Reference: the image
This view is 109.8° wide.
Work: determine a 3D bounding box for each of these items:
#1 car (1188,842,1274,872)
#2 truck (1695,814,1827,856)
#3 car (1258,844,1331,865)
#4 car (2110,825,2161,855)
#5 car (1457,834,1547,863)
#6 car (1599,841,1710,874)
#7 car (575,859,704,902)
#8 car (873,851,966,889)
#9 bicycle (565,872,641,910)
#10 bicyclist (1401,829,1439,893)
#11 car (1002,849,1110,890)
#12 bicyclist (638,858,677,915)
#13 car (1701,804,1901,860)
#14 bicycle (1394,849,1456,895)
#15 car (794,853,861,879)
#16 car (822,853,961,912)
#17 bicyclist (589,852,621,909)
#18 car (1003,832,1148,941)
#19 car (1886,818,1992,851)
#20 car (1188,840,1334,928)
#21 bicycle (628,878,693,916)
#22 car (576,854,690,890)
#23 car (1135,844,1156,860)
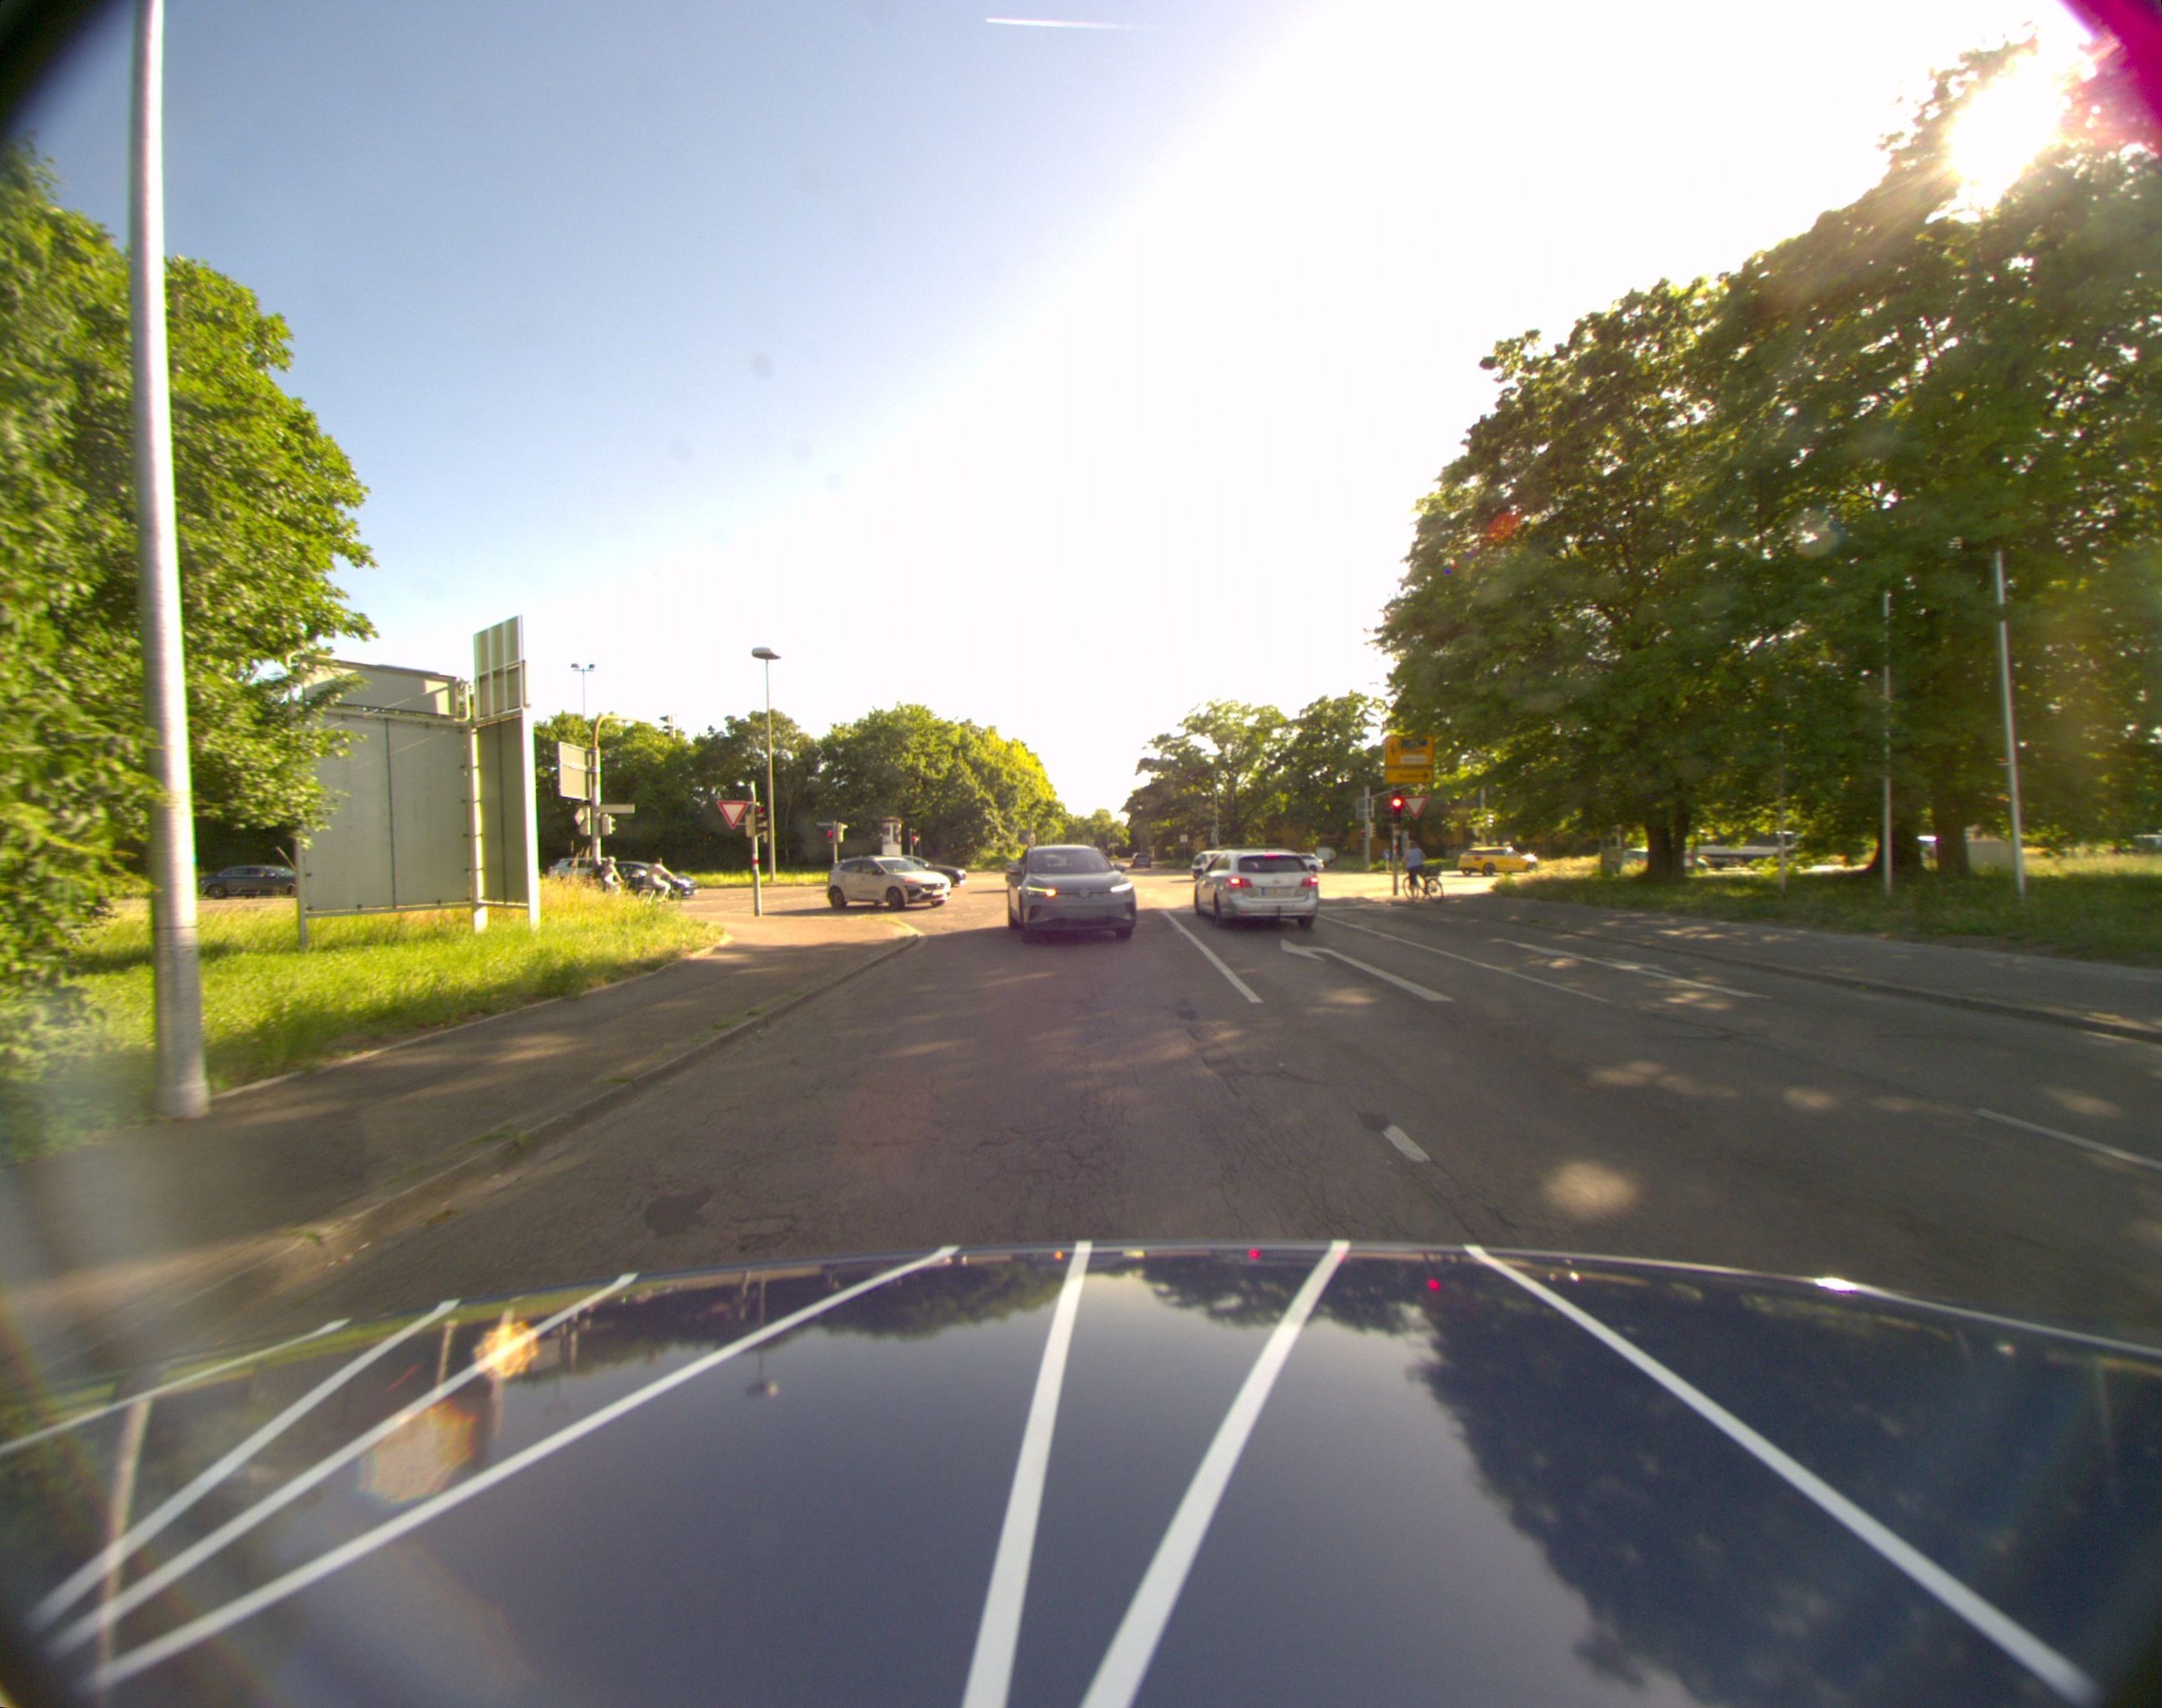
[{"bbox_3d":[7.575,0.134,38.497,3.913,1.432,1.691,-1,1,-12],"label":"car"},{"bbox_3d":[39.674,-1.097,44.372,6.776,2.296,2.189,-1,1,-12],"label":"truck"},{"bbox_3d":[14.527,0.022,51.642,4.502,1.221,1.691,-2,1,-13],"label":"car"},{"bbox_3d":[64.311,-0.860,45.258,4.392,1.674,1.825,-1,2,-11],"label":"car"},{"bbox_3d":[22.540,-0.300,40.712,4.122,1.432,1.691,-1,2,-12],"label":"car"},{"bbox_3d":[29.292,0.162,38.881,4.364,1.478,1.918,-1,3,-6],"label":"car"},{"bbox_3d":[-16.842,0.976,29.165,3.913,1.432,1.690,-1,3,-12],"label":"car"},{"bbox_3d":[-7.378,0.721,35.027,4.000,1.533,1.622,-1,3,-8],"label":"car"},{"bbox_3d":[-14.296,1.097,22.787,0.529,1.070,1.874,1,-1,29],"label":"bicycle"},{"bbox_3d":[8.897,0.178,19.949,0.542,1.632,0.829,-2,1,-5],"label":"bicyclist"},{"bbox_3d":[-1.093,0.618,32.169,4.365,1.478,1.918,-1,3,-10],"label":"car"},{"bbox_3d":[-12.427,0.966,22.328,0.542,1.625,0.809,1,-2,11],"label":"bicyclist"},{"bbox_3d":[21.076,-0.690,22.474,1.533,1.504,3.991,-2,3,-21],"label":"car"},{"bbox_3d":[8.937,0.432,19.827,0.529,1.135,2.025,-2,1,-5],"label":"bicycle"},{"bbox_3d":[-15.212,0.685,45.795,3.598,1.424,1.551,-1,1,-11],"label":"car"},{"bbox_3d":[-5.757,0.840,22.933,4.109,1.564,1.696,-1,2,35],"label":"car"},{"bbox_3d":[-14.288,0.786,22.793,0.525,1.686,0.587,1,-1,29],"label":"bicyclist"},{"bbox_3d":[-0.295,0.547,13.833,1.994,1.630,4.362,-1,-1,-9],"label":"car"},{"bbox_3d":[47.996,-1.116,42.534,4.365,1.719,1.918,-1,3,-11],"label":"car"},{"bbox_3d":[3.449,0.487,15.530,1.841,1.480,4.889,-1,1,0],"label":"car"},{"bbox_3d":[-12.385,1.264,22.440,0.530,1.069,1.873,1,-2,13],"label":"bicycle"},{"bbox_3d":[-20.850,0.823,35.526,4.196,1.529,1.835,-1,0,-12],"label":"car"},{"bbox_3d":[6.277,-0.227,74.520,1.639,1.391,3.888,-1,3,-1],"label":"car"}]
